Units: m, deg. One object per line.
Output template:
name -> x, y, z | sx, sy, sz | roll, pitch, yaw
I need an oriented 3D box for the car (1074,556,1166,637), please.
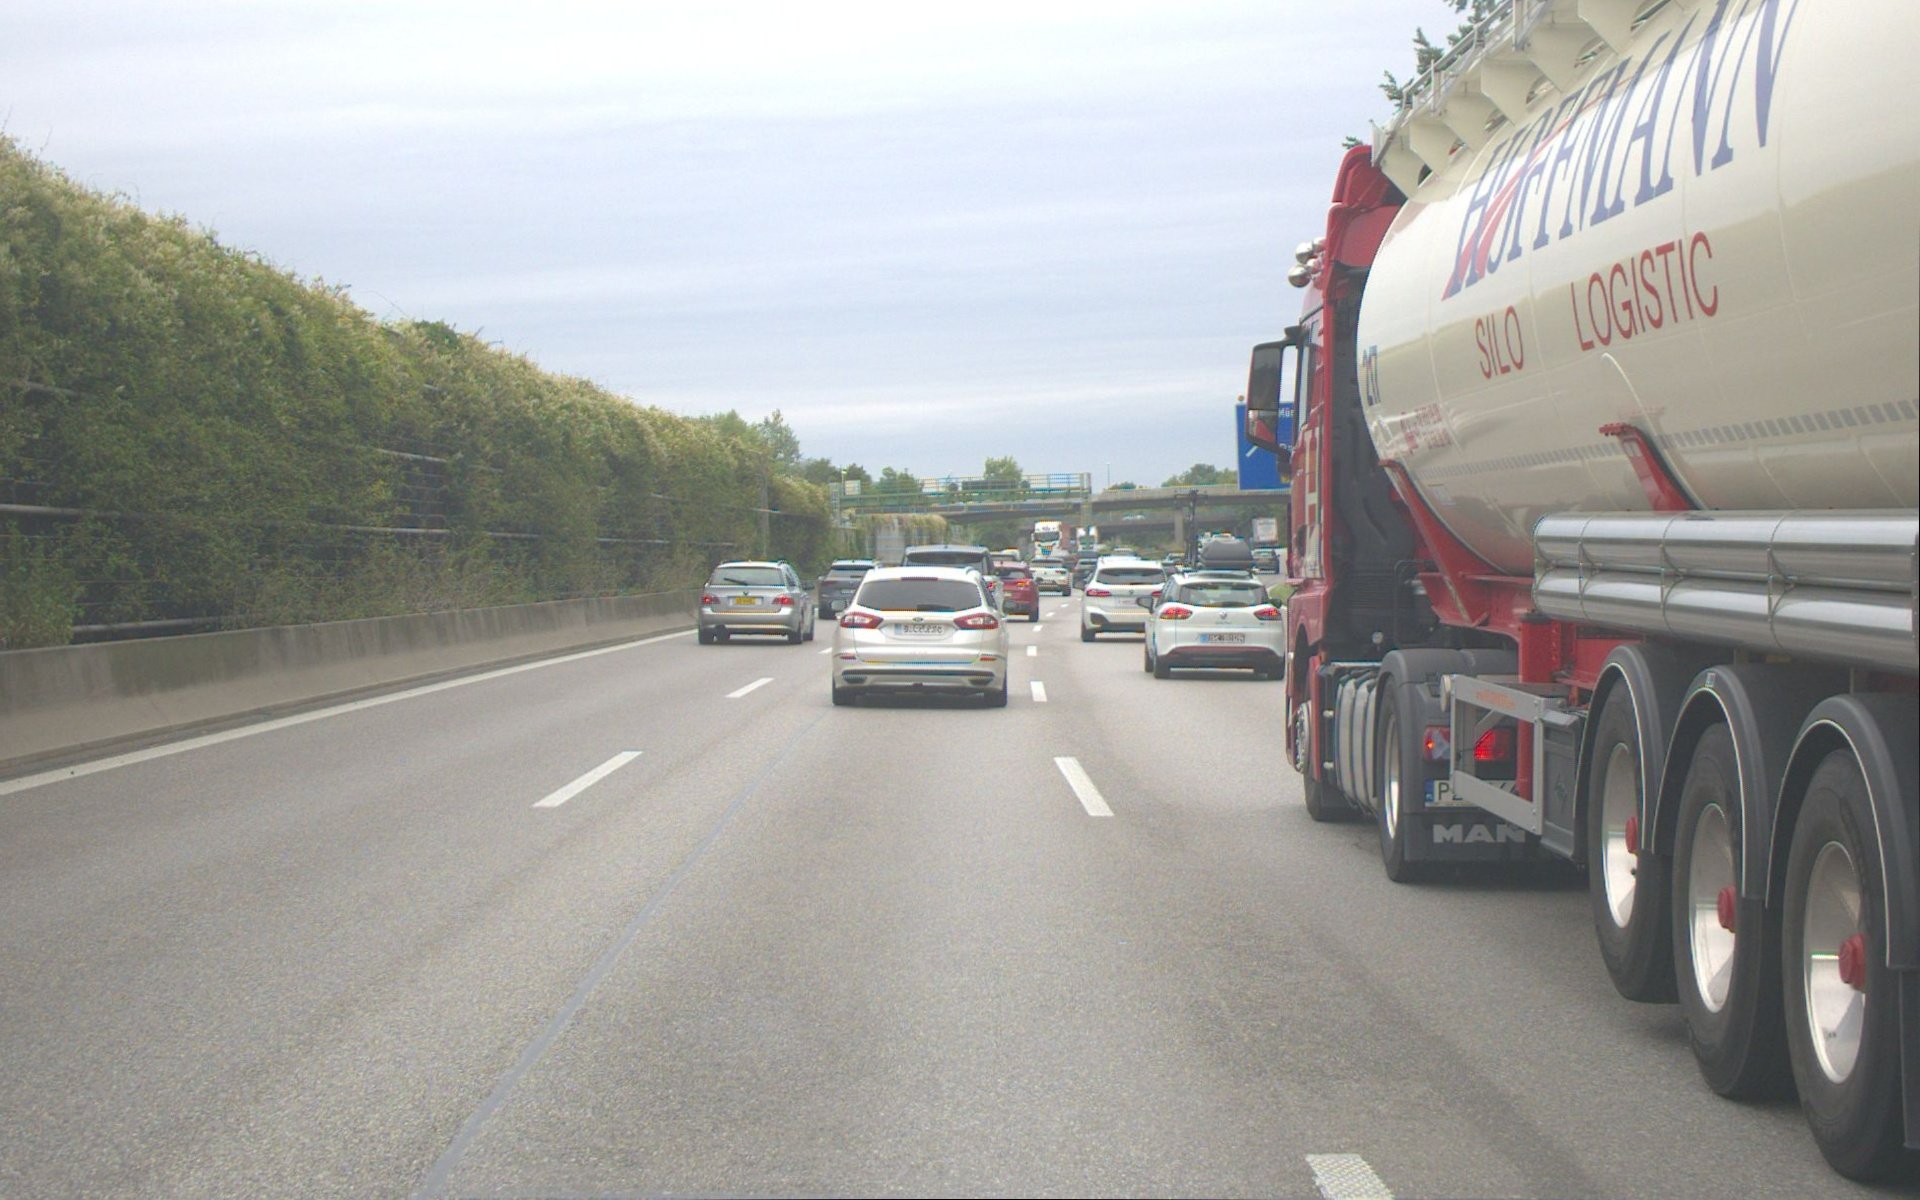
car -> 3.051, -0.070, 66.055 | 1.689, 1.501, 3.871 | 0, 0, 2

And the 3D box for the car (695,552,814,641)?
car -> -3.667, -0.038, 62.132 | 1.720, 1.464, 5.029 | 0, -2, 2

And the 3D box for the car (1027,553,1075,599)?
car -> 3.646, -0.957, 137.255 | 1.790, 1.773, 3.871 | -1, 0, 3

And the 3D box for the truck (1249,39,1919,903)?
truck -> 3.279, -0.587, 18.825 | 2.695, 3.899, 6.556 | 0, 0, -1

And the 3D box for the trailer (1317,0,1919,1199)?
trailer -> 3.295, -0.567, 11.994 | 2.668, 3.925, 13.130 | 0, 0, 0

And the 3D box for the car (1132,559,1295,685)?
car -> 3.387, 0.268, 46.778 | 1.816, 1.620, 5.030 | 0, 0, 0

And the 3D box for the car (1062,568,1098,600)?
car -> 5.913, -0.773, 169.183 | 1.689, 1.534, 3.871 | 0, 1, 1

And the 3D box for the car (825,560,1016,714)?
car -> -0.436, 0.353, 37.225 | 1.891, 1.499, 5.030 | 2, 0, -1

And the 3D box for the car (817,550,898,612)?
car -> -2.528, -0.487, 86.154 | 1.720, 1.507, 5.030 | 0, 0, 2

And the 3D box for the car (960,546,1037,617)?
car -> 0.941, -0.464, 81.632 | 1.689, 1.501, 3.871 | 4, 2, 1

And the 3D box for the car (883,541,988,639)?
car -> -0.447, -0.199, 60.072 | 1.689, 1.501, 3.872 | 4, 2, -1
